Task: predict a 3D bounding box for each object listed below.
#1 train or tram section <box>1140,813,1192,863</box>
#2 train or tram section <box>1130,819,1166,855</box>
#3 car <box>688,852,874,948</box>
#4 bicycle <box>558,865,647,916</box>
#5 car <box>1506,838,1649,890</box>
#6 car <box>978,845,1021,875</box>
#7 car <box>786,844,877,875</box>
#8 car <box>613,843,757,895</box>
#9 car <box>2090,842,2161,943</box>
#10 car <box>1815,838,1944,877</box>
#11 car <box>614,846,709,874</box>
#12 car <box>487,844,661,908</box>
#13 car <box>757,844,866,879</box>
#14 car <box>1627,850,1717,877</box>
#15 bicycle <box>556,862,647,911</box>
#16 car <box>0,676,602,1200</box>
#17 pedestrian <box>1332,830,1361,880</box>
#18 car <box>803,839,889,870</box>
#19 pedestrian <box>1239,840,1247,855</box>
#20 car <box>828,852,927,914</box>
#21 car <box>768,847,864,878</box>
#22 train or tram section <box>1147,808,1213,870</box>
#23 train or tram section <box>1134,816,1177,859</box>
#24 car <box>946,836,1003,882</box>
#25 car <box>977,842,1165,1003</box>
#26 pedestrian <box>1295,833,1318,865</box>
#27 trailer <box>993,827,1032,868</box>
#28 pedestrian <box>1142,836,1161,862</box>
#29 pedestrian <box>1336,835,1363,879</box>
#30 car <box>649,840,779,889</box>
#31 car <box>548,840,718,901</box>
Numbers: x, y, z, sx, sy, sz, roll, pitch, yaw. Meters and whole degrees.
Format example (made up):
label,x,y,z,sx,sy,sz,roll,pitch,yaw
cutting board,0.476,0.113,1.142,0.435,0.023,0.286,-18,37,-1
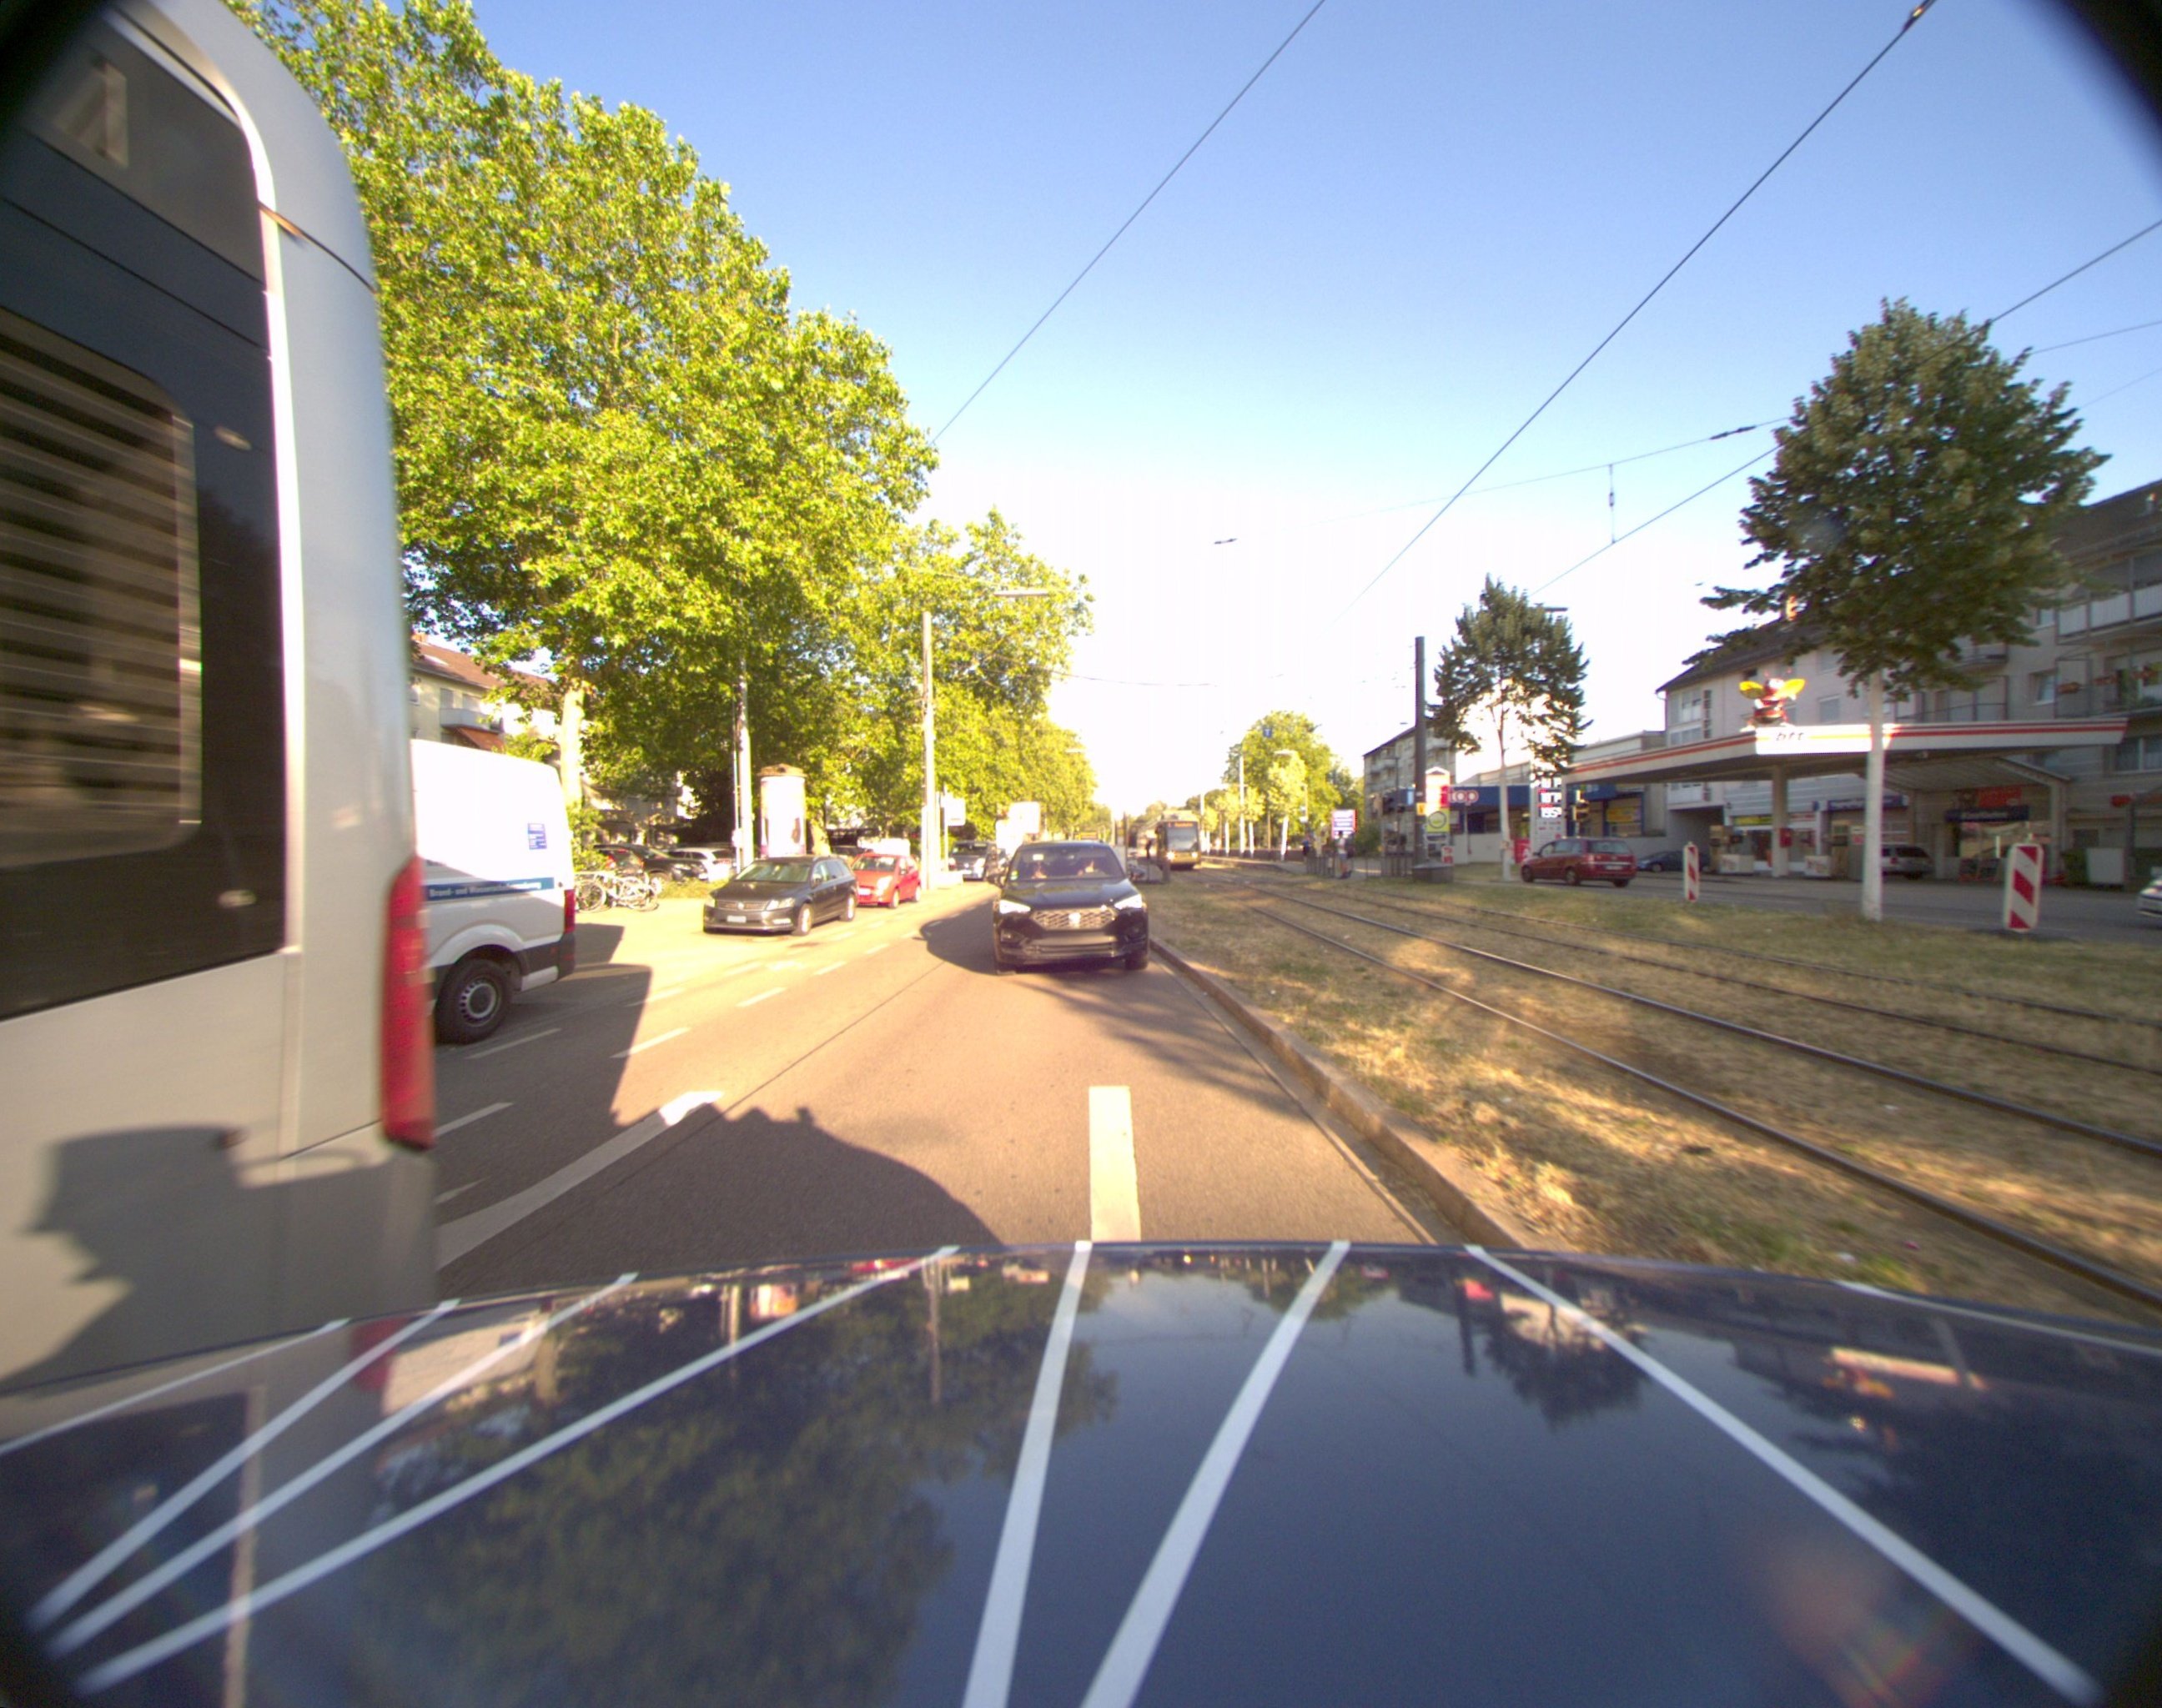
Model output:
label,x,y,z,sx,sy,sz,roll,pitch,yaw
train or tram section,6.333,-1.243,58.452,3.043,3.498,10.095,1,1,1
train or tram section,6.814,-1.745,78.645,3.043,3.498,10.095,1,1,1
car,-5.798,0.791,15.391,1.700,1.522,4.652,2,1,2
bicycle,-10.307,0.756,16.389,1.586,1.008,0.649,-1,1,-35
car,16.674,0.259,25.869,1.816,1.551,4.934,0,2,3
car,-4.578,0.295,43.122,1.800,1.621,4.000,0,1,3
car,-13.108,0.269,40.047,4.121,1.590,1.803,0,1,4
car,-13.442,0.487,25.944,3.849,1.486,1.856,-3,1,4
car,18.364,0.536,11.189,3.819,1.503,1.821,-2,0,34
car,34.880,0.117,33.349,1.816,1.515,3.829,-2,1,5
car,-24.023,0.323,43.658,4.292,1.487,1.999,-1,1,-1
car,-13.856,0.573,20.909,3.506,1.474,1.773,-3,1,1
car,-11.756,0.315,33.304,4.121,1.486,1.803,0,1,4
car,34.708,0.523,44.685,3.802,1.515,1.818,0,1,5
bicycle,-10.721,0.706,17.006,1.683,1.008,0.649,-1,1,-35
car,-6.147,0.348,5.035,2.021,2.537,5.784,3,1,2
pedestrian,10.303,0.033,29.552,0.860,1.921,0.755,0,1,0
car,-13.010,0.016,42.231,4.121,1.541,1.803,-3,1,4
pedestrian,21.082,-0.886,98.872,0.755,1.871,1.000,-3,1,1
car,-5.512,0.726,20.974,1.573,1.486,3.626,2,1,3
car,-13.117,0.405,37.742,4.121,1.486,1.803,0,1,4
train or tram section,6.092,-0.984,48.352,3.043,3.498,10.095,1,1,1
train or tram section,6.572,-1.496,68.551,3.043,3.498,10.095,1,1,1
car,-5.066,0.178,36.661,1.889,2.066,4.563,0,1,3
car,-0.198,0.704,10.071,1.911,1.606,4.084,-3,1,-3
pedestrian,12.297,-0.284,41.493,0.936,1.644,0.926,-3,1,2
trailer,-4.443,-0.421,49.926,1.889,2.573,4.651,0,1,3
pedestrian,4.162,-0.298,44.692,0.918,1.541,0.789,-2,1,-6
pedestrian,10.748,0.096,30.424,0.755,1.737,0.860,0,1,-1
car,-13.540,0.371,28.187,3.849,1.622,1.856,-2,1,4
car,-13.664,0.480,23.326,4.031,1.591,1.856,-3,1,1
